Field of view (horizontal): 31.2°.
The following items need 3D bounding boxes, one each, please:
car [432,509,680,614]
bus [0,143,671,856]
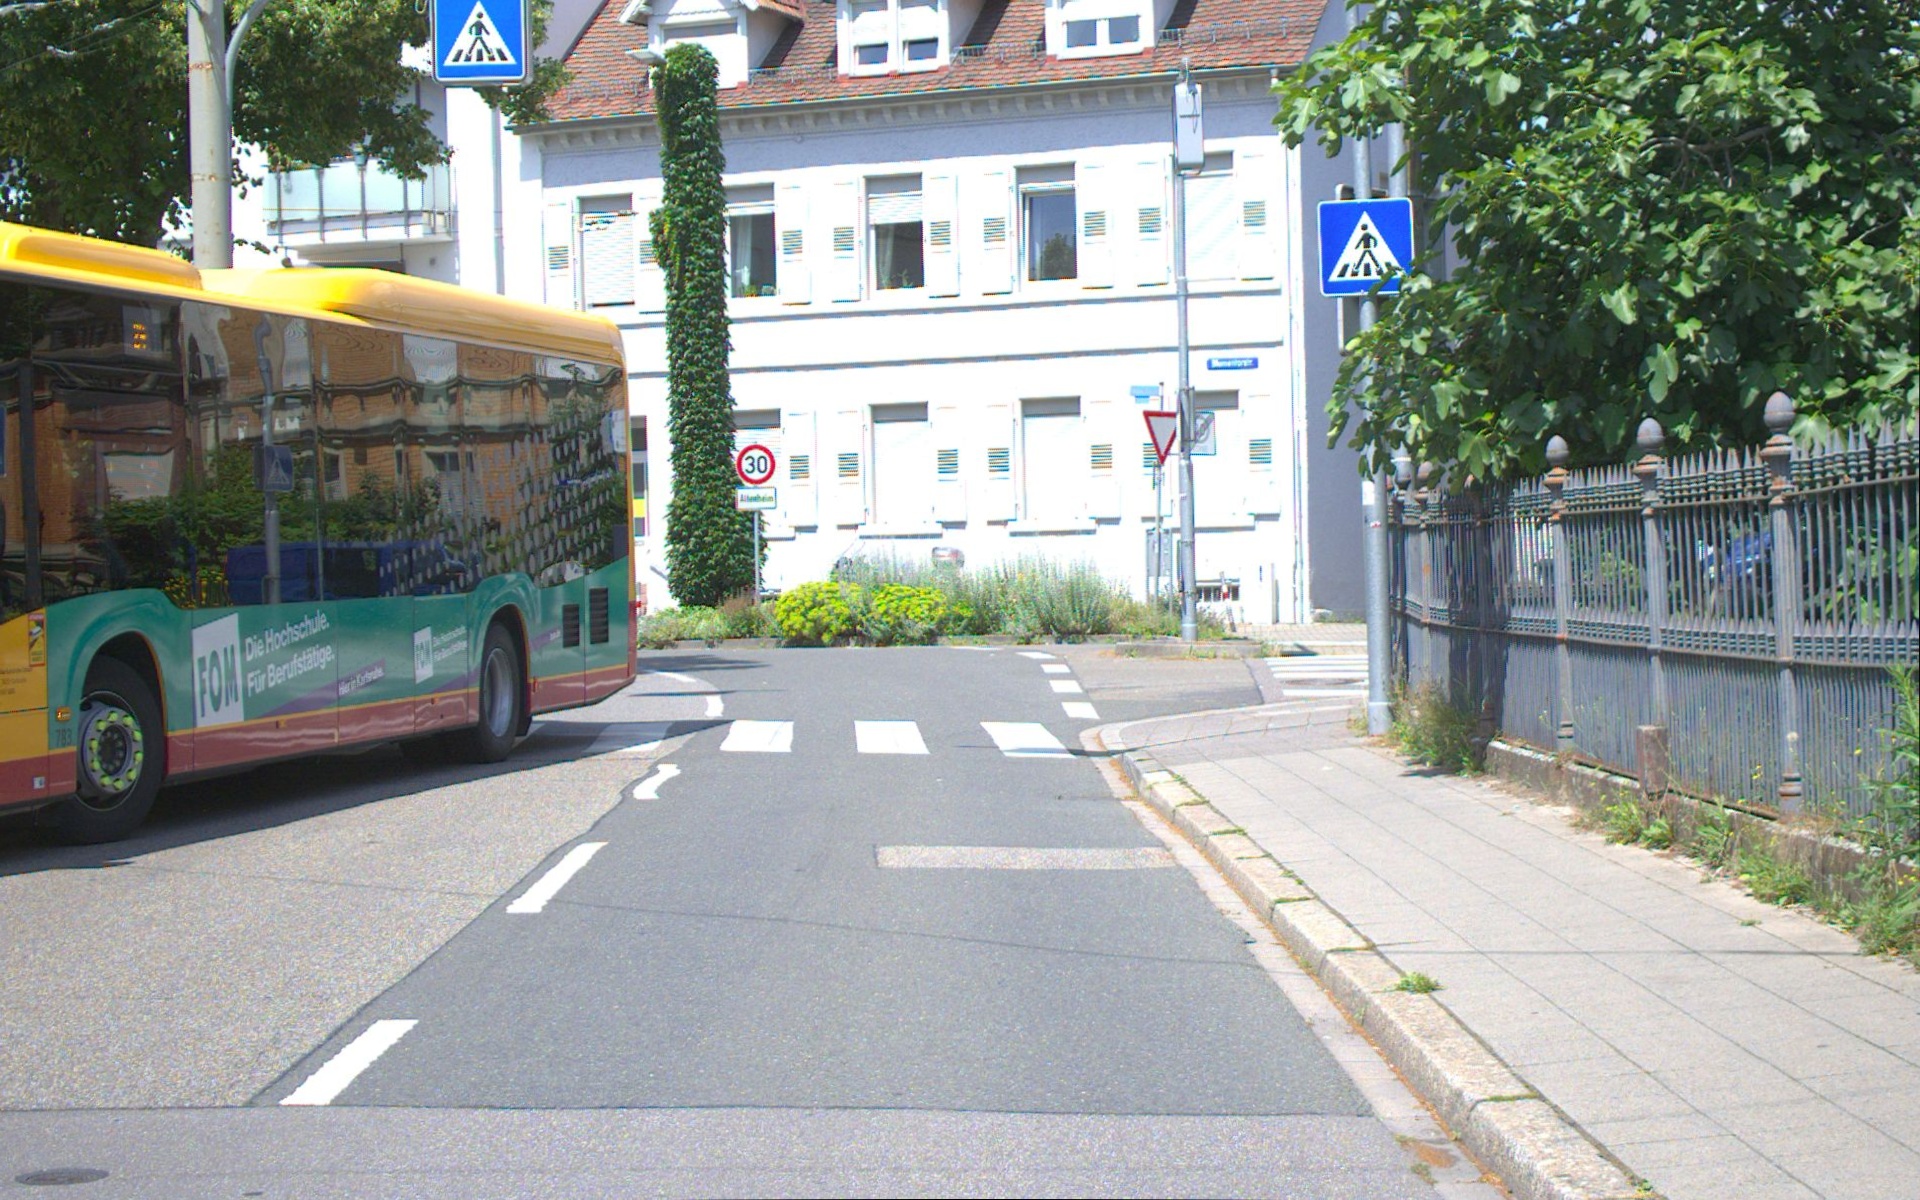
[{"bbox_3d":[-6.331,-0.595,53.773,3.612,1.581,1.581,0,-1,31],"label":"car"},{"bbox_3d":[-4.752,-0.583,20.493,2.781,3.197,12.301,1,2,11],"label":"bus"}]
